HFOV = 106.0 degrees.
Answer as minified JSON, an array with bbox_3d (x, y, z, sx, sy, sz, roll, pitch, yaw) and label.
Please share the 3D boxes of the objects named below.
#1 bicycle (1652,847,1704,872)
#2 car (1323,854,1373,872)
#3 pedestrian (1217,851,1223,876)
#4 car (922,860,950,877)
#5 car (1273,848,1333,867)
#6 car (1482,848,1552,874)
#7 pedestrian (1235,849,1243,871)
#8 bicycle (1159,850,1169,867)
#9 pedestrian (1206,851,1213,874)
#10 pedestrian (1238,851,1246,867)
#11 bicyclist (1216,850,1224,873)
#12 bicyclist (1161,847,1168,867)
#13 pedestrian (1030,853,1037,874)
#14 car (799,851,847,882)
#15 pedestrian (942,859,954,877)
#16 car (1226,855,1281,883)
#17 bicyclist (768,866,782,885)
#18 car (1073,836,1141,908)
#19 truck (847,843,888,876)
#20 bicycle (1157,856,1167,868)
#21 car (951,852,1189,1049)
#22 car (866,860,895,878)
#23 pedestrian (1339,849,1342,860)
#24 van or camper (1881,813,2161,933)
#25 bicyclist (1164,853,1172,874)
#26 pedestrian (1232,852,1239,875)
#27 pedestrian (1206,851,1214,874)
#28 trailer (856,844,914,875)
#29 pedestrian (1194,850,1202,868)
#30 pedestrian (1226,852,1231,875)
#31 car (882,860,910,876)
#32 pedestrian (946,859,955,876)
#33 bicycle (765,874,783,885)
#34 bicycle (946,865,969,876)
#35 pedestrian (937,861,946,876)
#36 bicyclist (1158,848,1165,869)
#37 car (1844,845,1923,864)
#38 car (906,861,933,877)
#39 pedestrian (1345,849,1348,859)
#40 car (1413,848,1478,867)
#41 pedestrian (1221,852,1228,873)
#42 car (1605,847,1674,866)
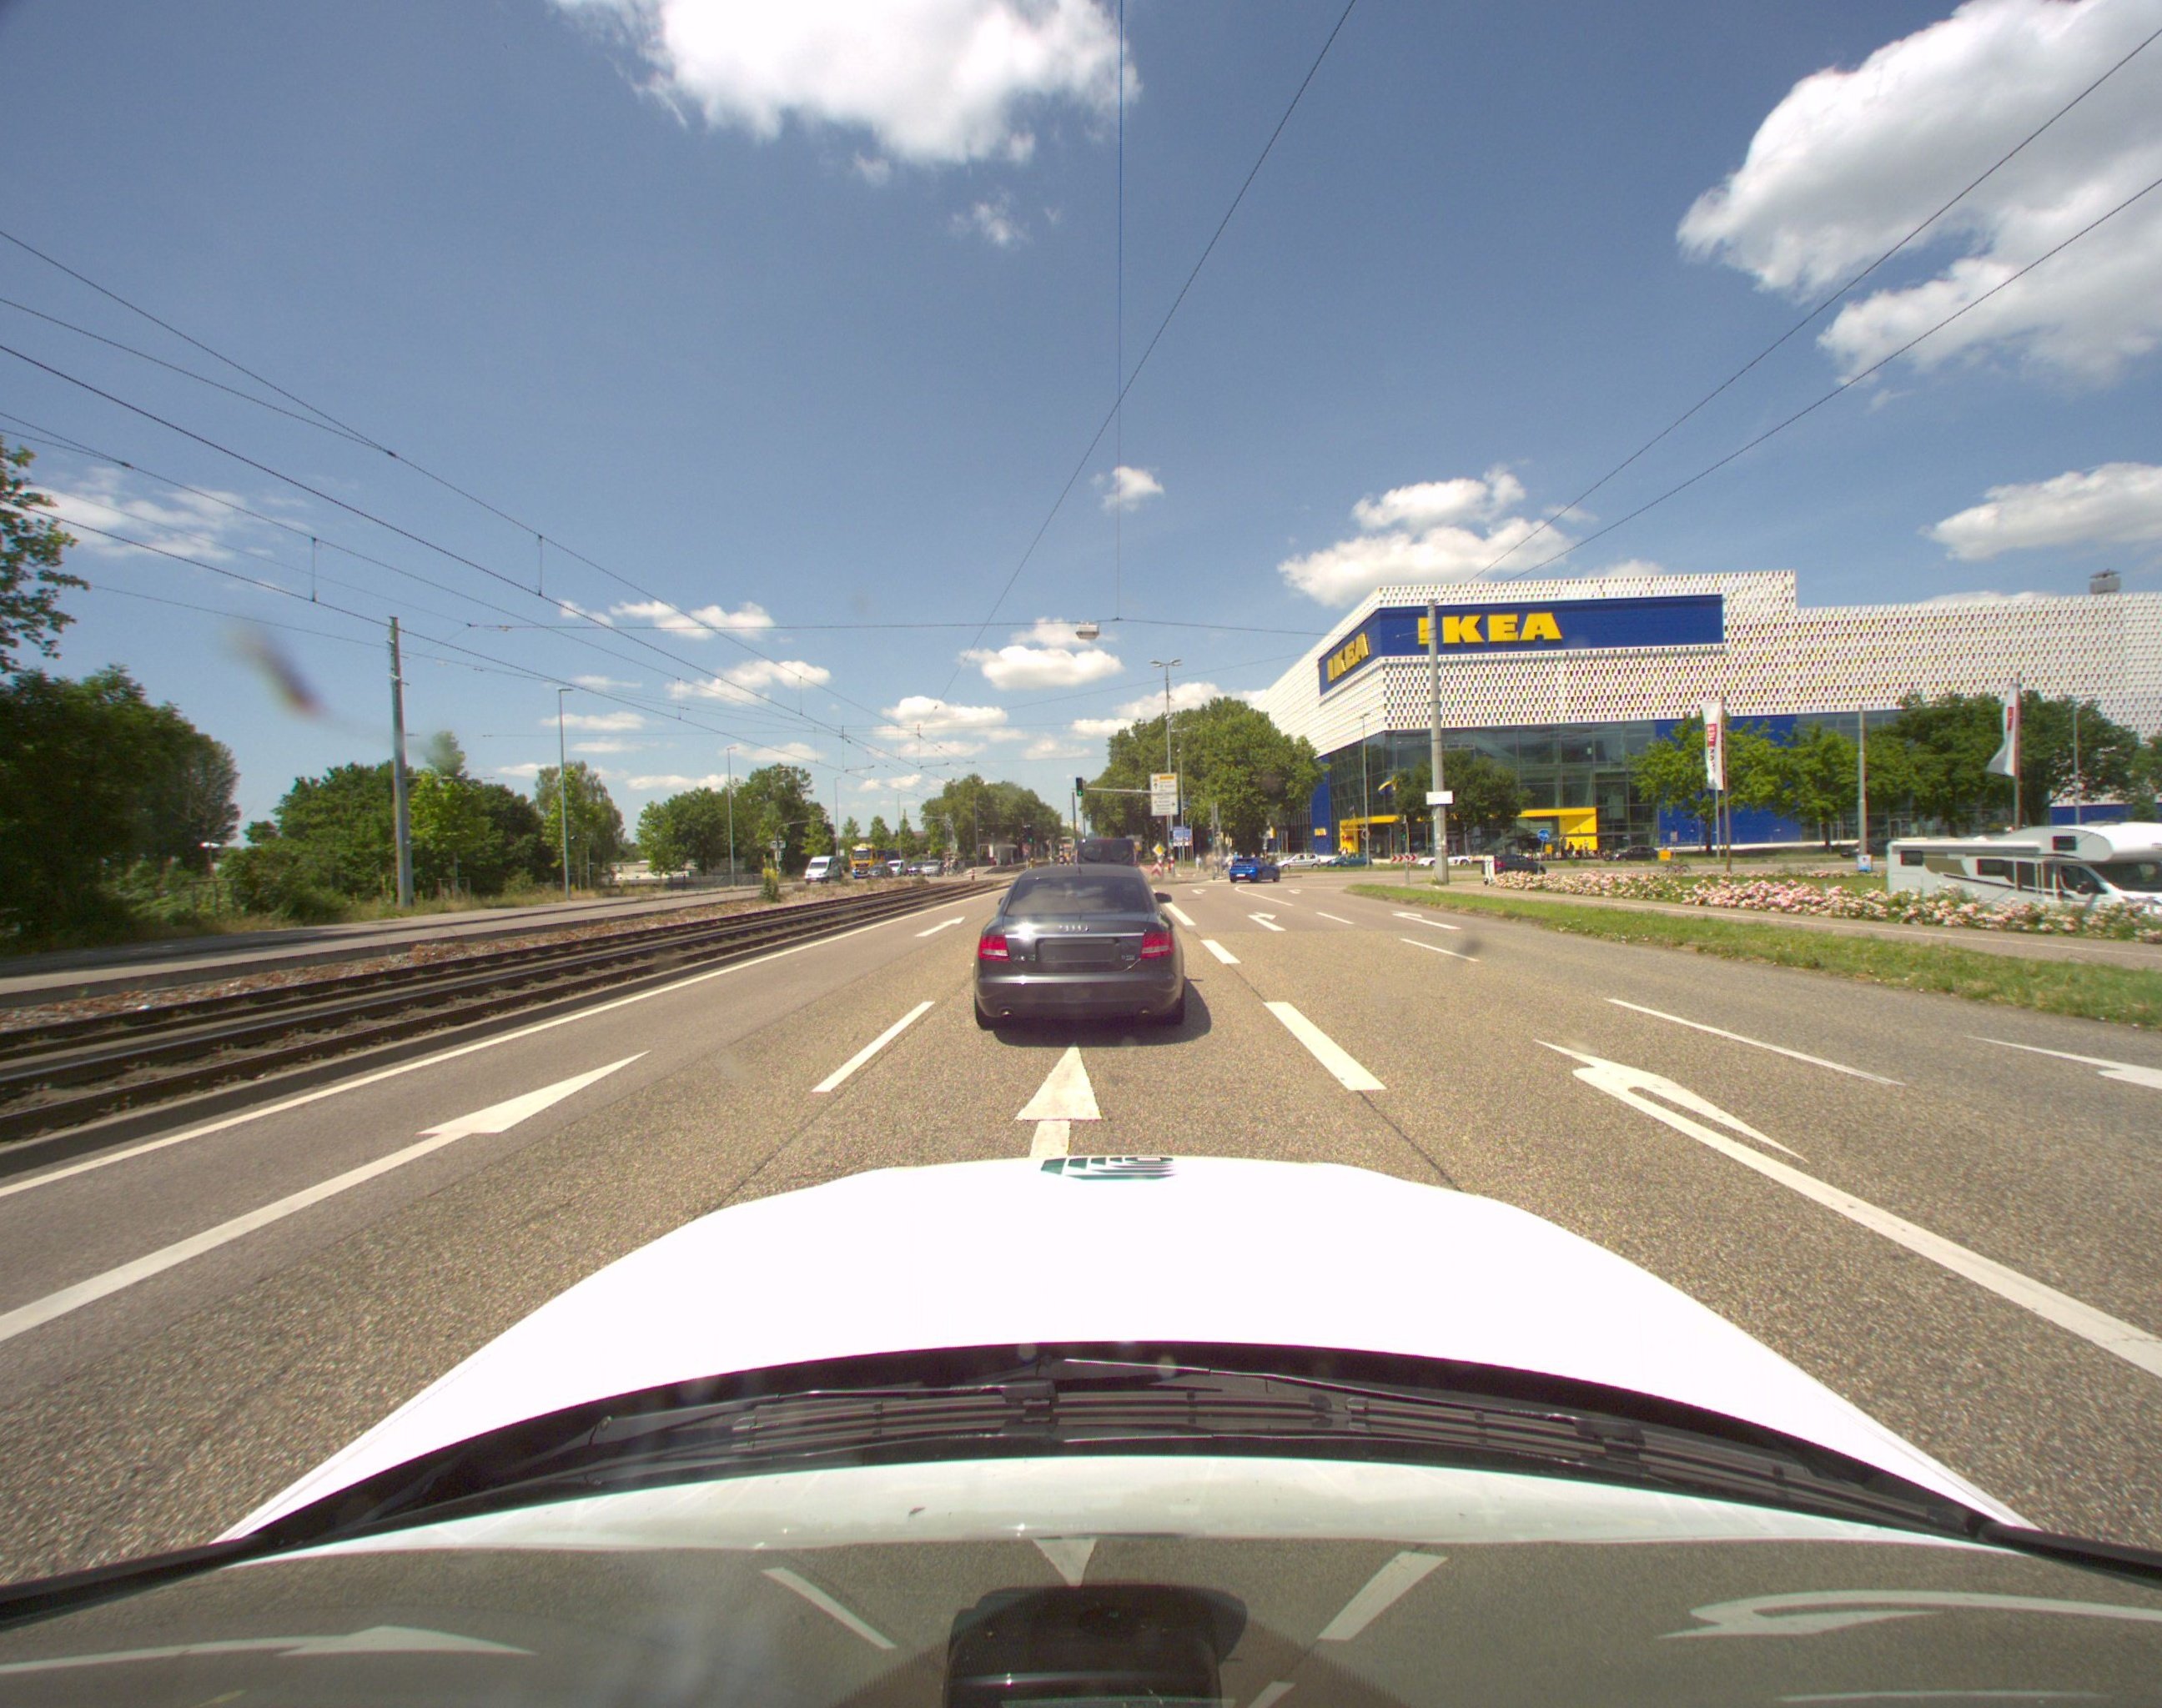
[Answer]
[{"bbox_3d":[36.972,0.319,50.452,2.410,1.481,0.990,-1,0,6],"label":"bicycle"},{"bbox_3d":[23.010,0.749,70.235,3.770,1.486,2.003,0,0,5],"label":"car"},{"bbox_3d":[9.331,0.650,54.707,0.379,1.635,0.377,-1,0,5],"label":"pedestrian"},{"bbox_3d":[-14.948,1.486,84.087,1.814,1.670,4.467,0,0,4],"label":"car"},{"bbox_3d":[18.254,0.268,67.045,4.475,1.486,2.003,0,0,5],"label":"car"},{"bbox_3d":[28.322,0.449,52.940,4.100,1.526,1.754,-1,0,-21],"label":"car"},{"bbox_3d":[12.058,0.425,62.259,0.518,1.670,0.495,-1,0,5],"label":"pedestrian"},{"bbox_3d":[7.606,0.398,74.691,0.685,1.519,2.753,-1,0,2],"label":"bicycle"},{"bbox_3d":[9.323,0.625,59.193,0.443,1.635,0.430,-1,0,5],"label":"pedestrian"},{"bbox_3d":[16.084,0.502,81.306,0.698,1.635,0.615,-1,0,21],"label":"pedestrian"},{"bbox_3d":[11.005,0.573,64.413,0.525,1.764,0.831,-1,-1,15],"label":"bicyclist"},{"bbox_3d":[7.571,0.261,74.058,0.526,1.789,1.088,-1,-1,2],"label":"bicyclist"},{"bbox_3d":[-4.603,0.926,79.015,0.683,2.014,0.572,-1,-1,-3],"label":"pedestrian"},{"bbox_3d":[-24.442,1.139,77.473,2.235,2.588,6.236,-4,0,1],"label":"car"},{"bbox_3d":[-13.010,1.367,79.835,0.816,1.720,0.779,-1,-1,24],"label":"pedestrian"},{"bbox_3d":[9.811,0.821,46.236,1.819,1.454,4.025,0,0,31],"label":"car"},{"bbox_3d":[-28.763,2.037,76.605,1.116,1.774,0.340,-1,0,-3],"label":"bicyclist"},{"bbox_3d":[0.766,0.502,24.352,1.830,1.950,4.001,-1,0,2],"label":"car"},{"bbox_3d":[-24.134,0.597,92.339,2.757,3.569,6.442,-1,0,2],"label":"truck"},{"bbox_3d":[7.047,0.663,70.891,0.685,0.993,2.753,-1,0,2],"label":"bicycle"},{"bbox_3d":[-0.011,0.735,8.233,1.786,1.455,4.002,-2,0,2],"label":"car"},{"bbox_3d":[-20.615,1.524,83.918,1.815,1.670,4.463,0,0,2],"label":"car"},{"bbox_3d":[33.213,0.077,104.342,0.287,1.342,0.266,-1,-1,1],"label":"pedestrian"},{"bbox_3d":[28.161,0.461,24.048,2.494,3.020,7.235,-1,0,6],"label":"van or camper"},{"bbox_3d":[7.077,0.749,66.190,0.526,1.676,1.088,-1,-1,2],"label":"bicyclist"},{"bbox_3d":[10.956,0.689,57.833,0.396,1.635,0.371,-1,0,5],"label":"pedestrian"},{"bbox_3d":[9.352,0.634,59.177,0.551,1.635,0.433,-1,0,4],"label":"pedestrian"},{"bbox_3d":[-23.888,0.638,100.286,2.757,3.518,15.884,-1,0,2],"label":"trailer"},{"bbox_3d":[9.954,0.405,69.234,0.490,1.520,0.710,-1,0,19],"label":"pedestrian"},{"bbox_3d":[10.494,0.652,57.835,0.319,1.635,0.377,-1,0,5],"label":"pedestrian"},{"bbox_3d":[-20.739,1.586,91.482,1.814,1.670,4.465,0,0,3],"label":"car"},{"bbox_3d":[-12.516,1.289,78.183,0.683,1.564,0.572,-1,-1,-2],"label":"pedestrian"},{"bbox_3d":[-28.921,2.437,76.629,1.487,0.987,0.485,-1,0,-2],"label":"bicycle"},{"bbox_3d":[-11.546,1.537,76.181,2.055,0.925,0.751,-1,0,-8],"label":"bicycle"},{"bbox_3d":[-13.201,1.347,77.087,0.683,1.443,0.572,-1,-1,-2],"label":"pedestrian"},{"bbox_3d":[6.989,0.364,71.086,0.526,1.789,1.089,-1,-1,2],"label":"bicyclist"},{"bbox_3d":[66.927,0.063,67.987,4.475,1.486,2.003,-1,0,5],"label":"car"},{"bbox_3d":[-17.815,1.583,89.914,1.814,1.670,4.467,0,0,5],"label":"car"},{"bbox_3d":[33.737,0.021,103.518,0.287,1.342,0.266,-1,-1,1],"label":"pedestrian"},{"bbox_3d":[29.872,0.268,66.824,4.475,1.486,2.003,0,0,5],"label":"car"},{"bbox_3d":[10.887,0.640,61.773,0.501,1.635,0.449,-1,0,4],"label":"pedestrian"},{"bbox_3d":[47.688,0.201,69.591,4.475,1.486,2.003,-1,0,5],"label":"car"}]
